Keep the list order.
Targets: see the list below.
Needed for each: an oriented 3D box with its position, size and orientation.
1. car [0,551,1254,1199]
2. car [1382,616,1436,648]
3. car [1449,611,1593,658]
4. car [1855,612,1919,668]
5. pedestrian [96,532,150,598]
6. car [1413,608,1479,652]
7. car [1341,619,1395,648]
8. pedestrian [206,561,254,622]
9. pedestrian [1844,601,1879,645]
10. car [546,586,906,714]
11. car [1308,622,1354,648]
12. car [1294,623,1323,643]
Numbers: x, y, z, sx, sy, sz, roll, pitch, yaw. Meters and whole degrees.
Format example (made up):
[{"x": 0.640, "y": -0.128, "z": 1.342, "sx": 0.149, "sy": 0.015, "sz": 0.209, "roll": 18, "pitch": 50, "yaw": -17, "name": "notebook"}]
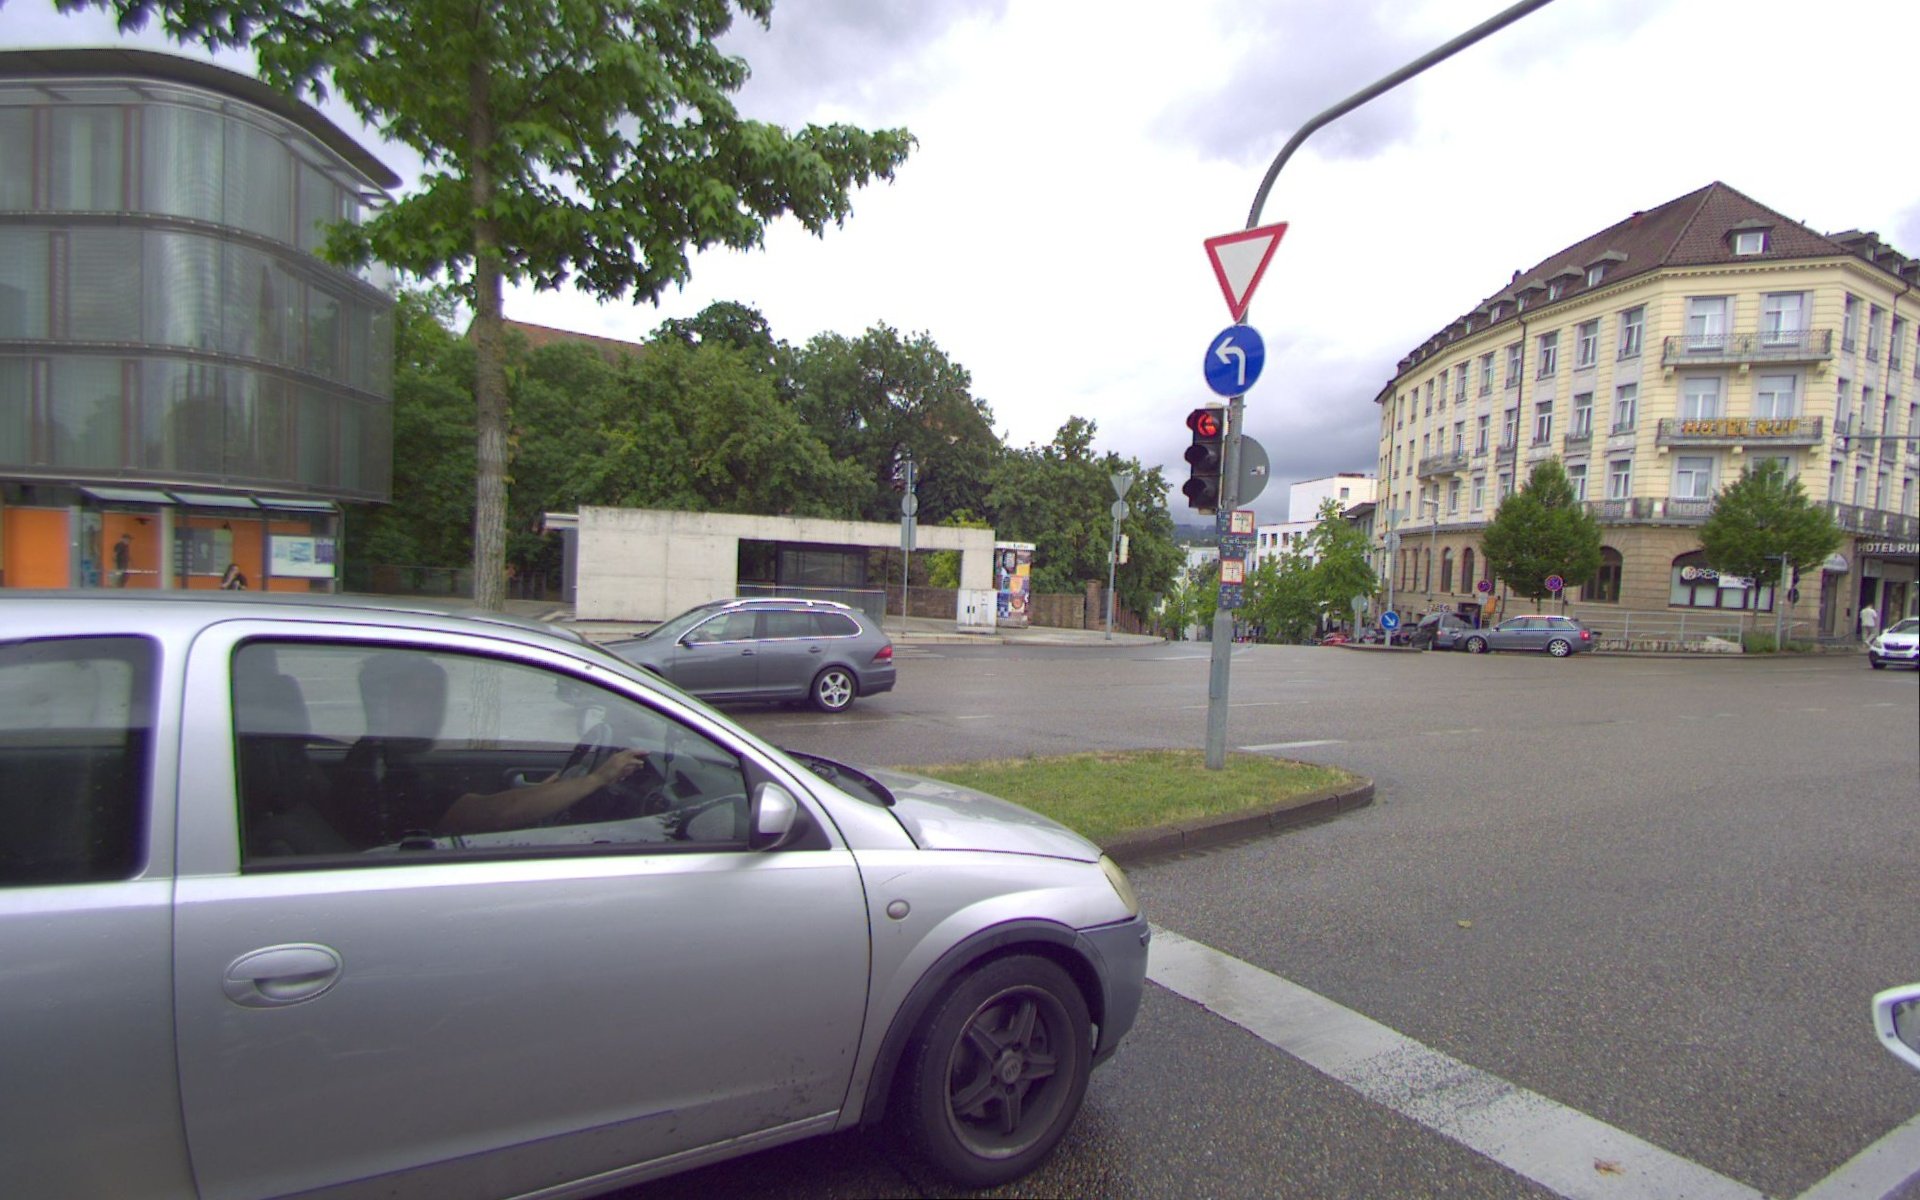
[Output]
[{"x": -1.199, "y": 0.683, "z": 2.524, "sx": 3.678, "sy": 1.485, "sz": 1.685, "roll": 2, "pitch": 0, "yaw": -32, "name": "car"}, {"x": 22.992, "y": 1.603, "z": 51.535, "sx": 1.602, "sy": 1.417, "sz": 4.002, "roll": 2, "pitch": 1, "yaw": 10, "name": "car"}, {"x": 20.245, "y": 1.225, "z": 36.330, "sx": 4.377, "sy": 1.485, "sz": 1.695, "roll": 2, "pitch": 0, "yaw": 35, "name": "car"}, {"x": 30.025, "y": 1.256, "z": 31.326, "sx": 4.159, "sy": 1.639, "sz": 1.946, "roll": 2, "pitch": 0, "yaw": -30, "name": "car"}, {"x": -23.099, "y": -0.972, "z": 27.740, "sx": 0.809, "sy": 1.780, "sz": 0.785, "roll": 2, "pitch": 3, "yaw": -3, "name": "pedestrian"}, {"x": 21.789, "y": 1.294, "z": 45.178, "sx": 1.602, "sy": 1.783, "sz": 4.002, "roll": 2, "pitch": 1, "yaw": 10, "name": "car"}, {"x": 23.060, "y": 1.874, "z": 56.910, "sx": 1.734, "sy": 1.498, "sz": 4.002, "roll": 2, "pitch": 0, "yaw": 6, "name": "car"}, {"x": -16.192, "y": -0.176, "z": 22.295, "sx": 0.710, "sy": 1.316, "sz": 0.665, "roll": 2, "pitch": 0, "yaw": -25, "name": "pedestrian"}, {"x": 37.873, "y": 0.958, "z": 42.190, "sx": 0.741, "sy": 1.837, "sz": 0.875, "roll": 2, "pitch": 0, "yaw": -30, "name": "pedestrian"}, {"x": -3.077, "y": 0.633, "z": 13.416, "sx": 4.396, "sy": 1.485, "sz": 1.688, "roll": 2, "pitch": 0, "yaw": -28, "name": "car"}, {"x": 23.261, "y": 2.157, "z": 63.120, "sx": 1.734, "sy": 1.498, "sz": 4.012, "roll": 2, "pitch": 0, "yaw": 6, "name": "car"}, {"x": 28.749, "y": 2.727, "z": 83.016, "sx": 1.734, "sy": 1.498, "sz": 4.002, "roll": 2, "pitch": 0, "yaw": 11, "name": "car"}]
